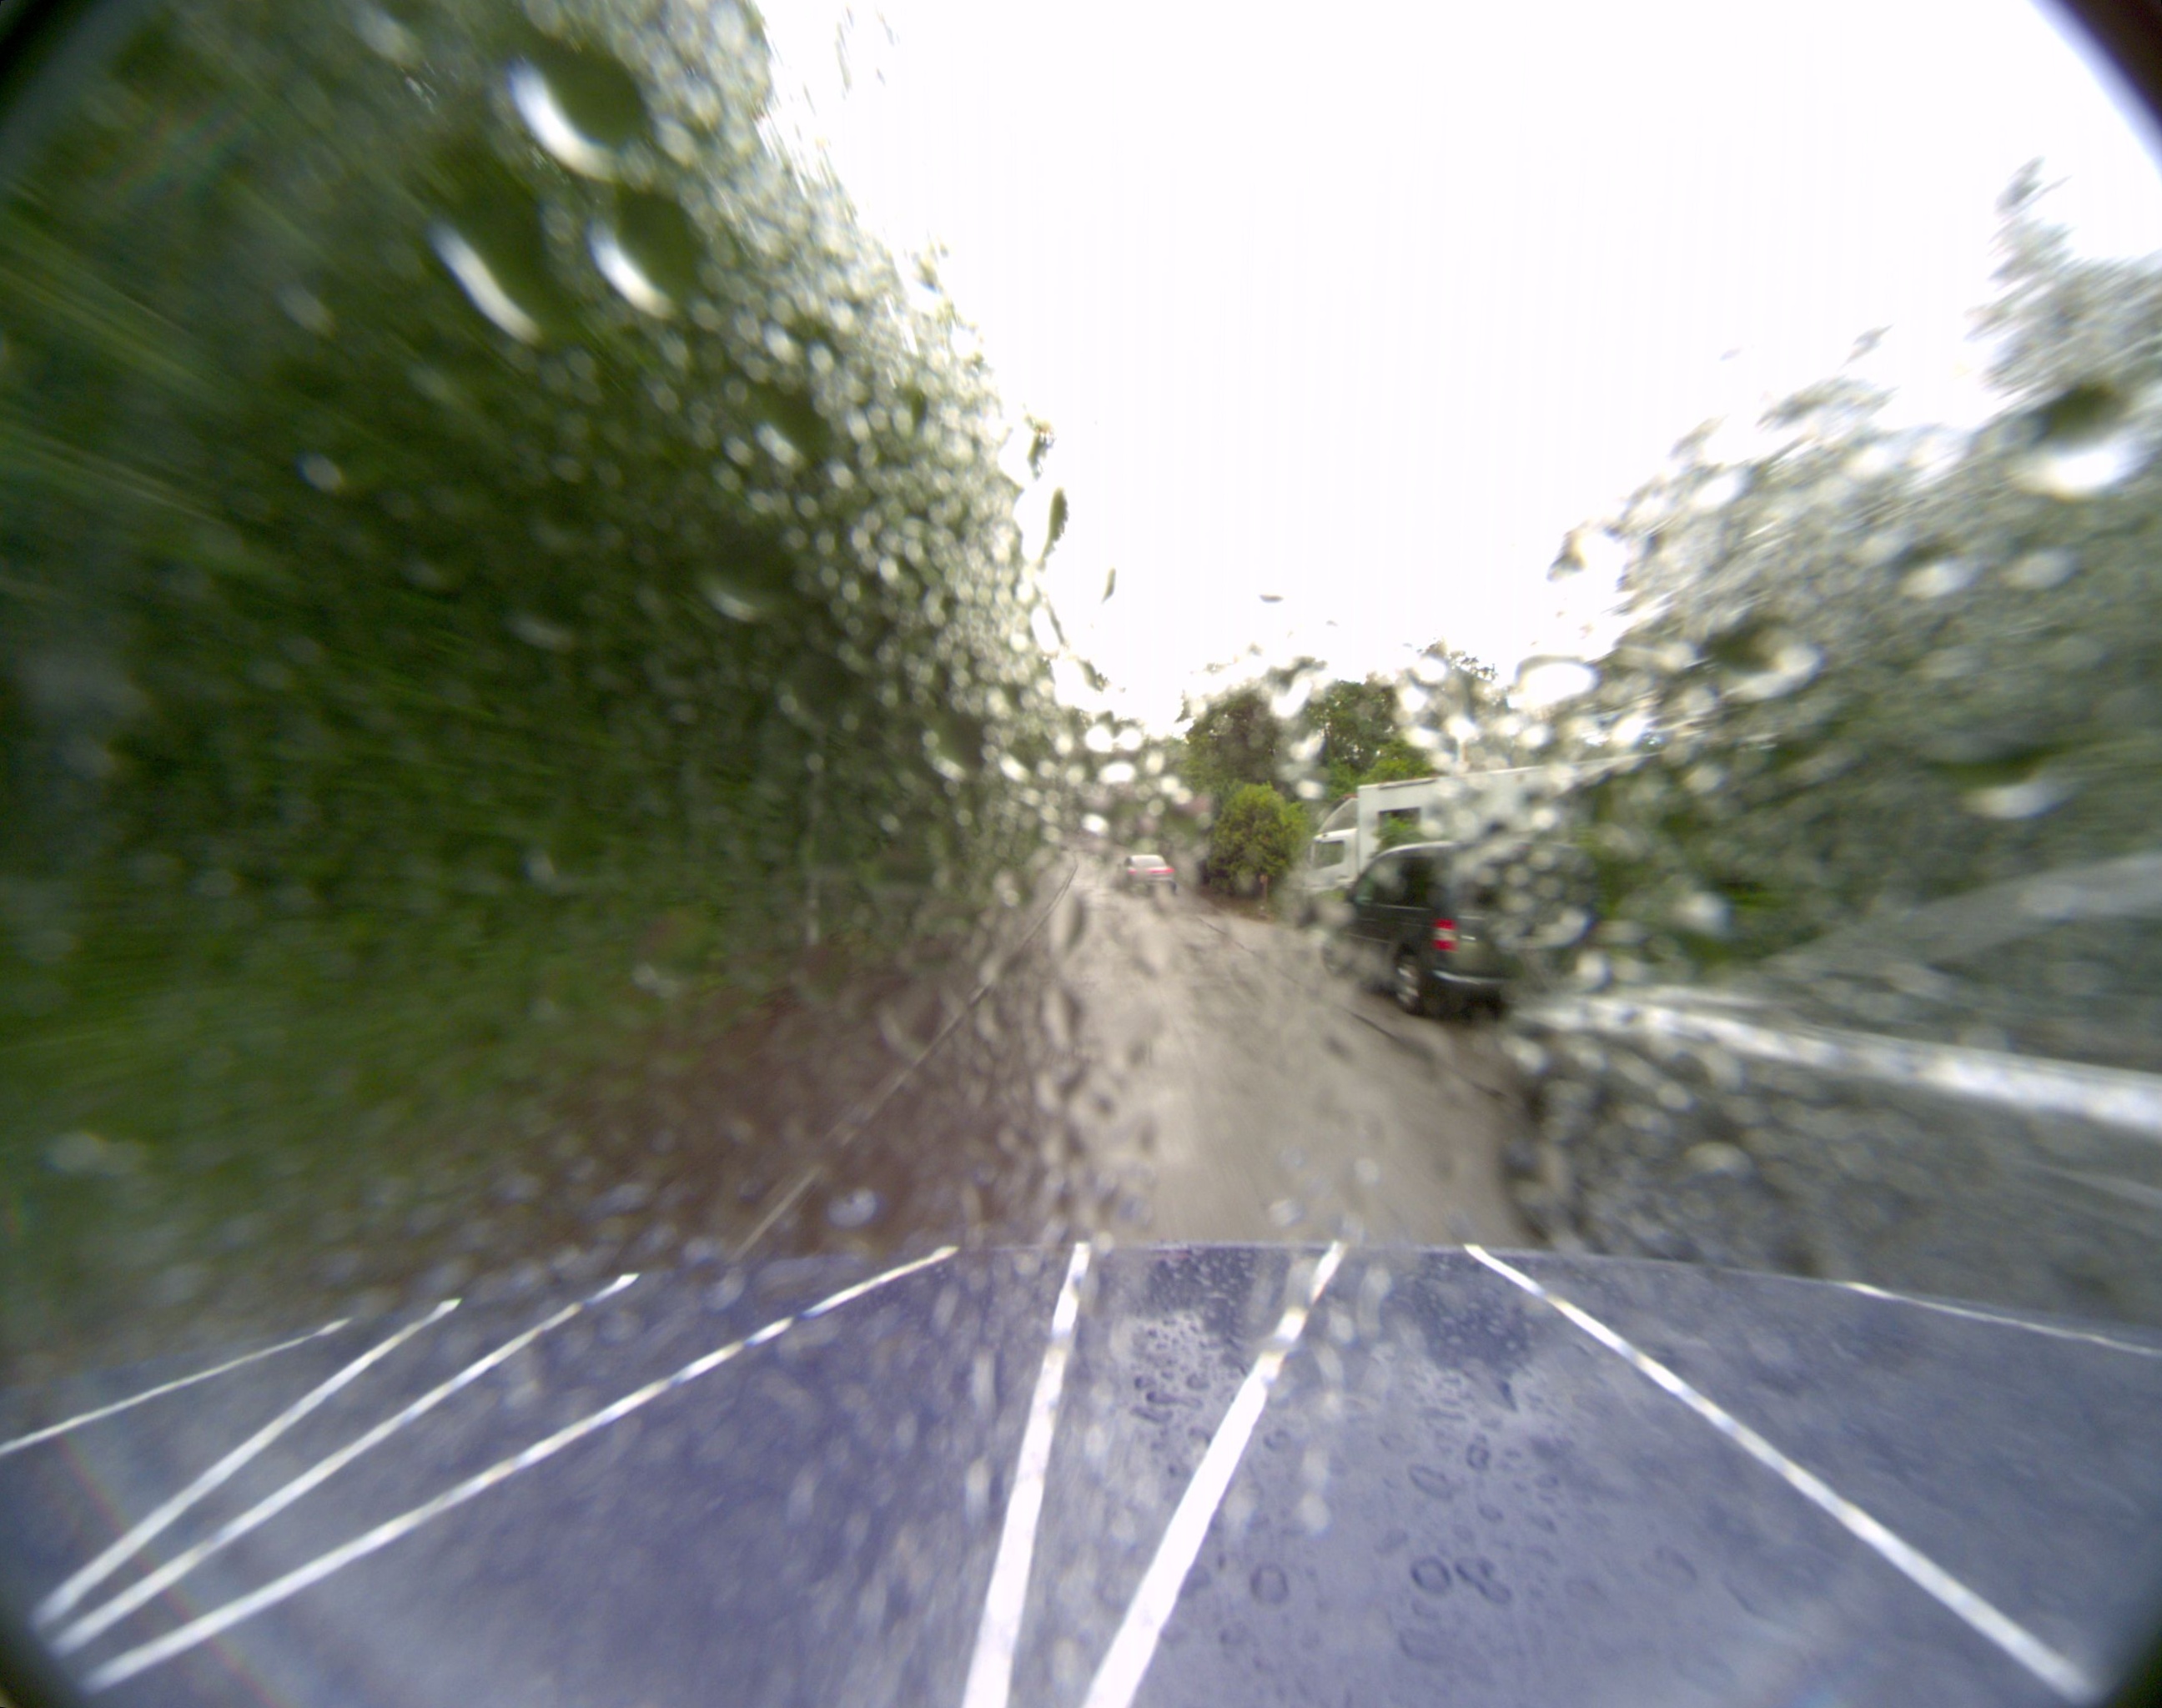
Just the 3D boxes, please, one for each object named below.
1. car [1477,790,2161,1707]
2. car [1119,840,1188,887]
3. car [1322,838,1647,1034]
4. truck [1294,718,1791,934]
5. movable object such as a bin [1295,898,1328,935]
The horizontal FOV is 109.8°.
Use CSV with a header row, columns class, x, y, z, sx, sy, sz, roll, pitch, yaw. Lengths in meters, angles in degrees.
class,x,y,z,sx,sy,sz,roll,pitch,yaw
car,2.704,0.674,0.967,1.928,1.611,4.462,-1,-1,-2
car,2.773,0.319,30.116,1.960,1.608,4.676,-1,2,-4
car,4.287,0.742,8.901,1.689,1.717,4.069,2,0,2
truck,9.743,-0.404,17.360,2.773,3.693,9.226,-2,0,-42
movable object such as a bin,6.971,1.895,22.974,0.707,1.064,0.752,-2,-2,-4
